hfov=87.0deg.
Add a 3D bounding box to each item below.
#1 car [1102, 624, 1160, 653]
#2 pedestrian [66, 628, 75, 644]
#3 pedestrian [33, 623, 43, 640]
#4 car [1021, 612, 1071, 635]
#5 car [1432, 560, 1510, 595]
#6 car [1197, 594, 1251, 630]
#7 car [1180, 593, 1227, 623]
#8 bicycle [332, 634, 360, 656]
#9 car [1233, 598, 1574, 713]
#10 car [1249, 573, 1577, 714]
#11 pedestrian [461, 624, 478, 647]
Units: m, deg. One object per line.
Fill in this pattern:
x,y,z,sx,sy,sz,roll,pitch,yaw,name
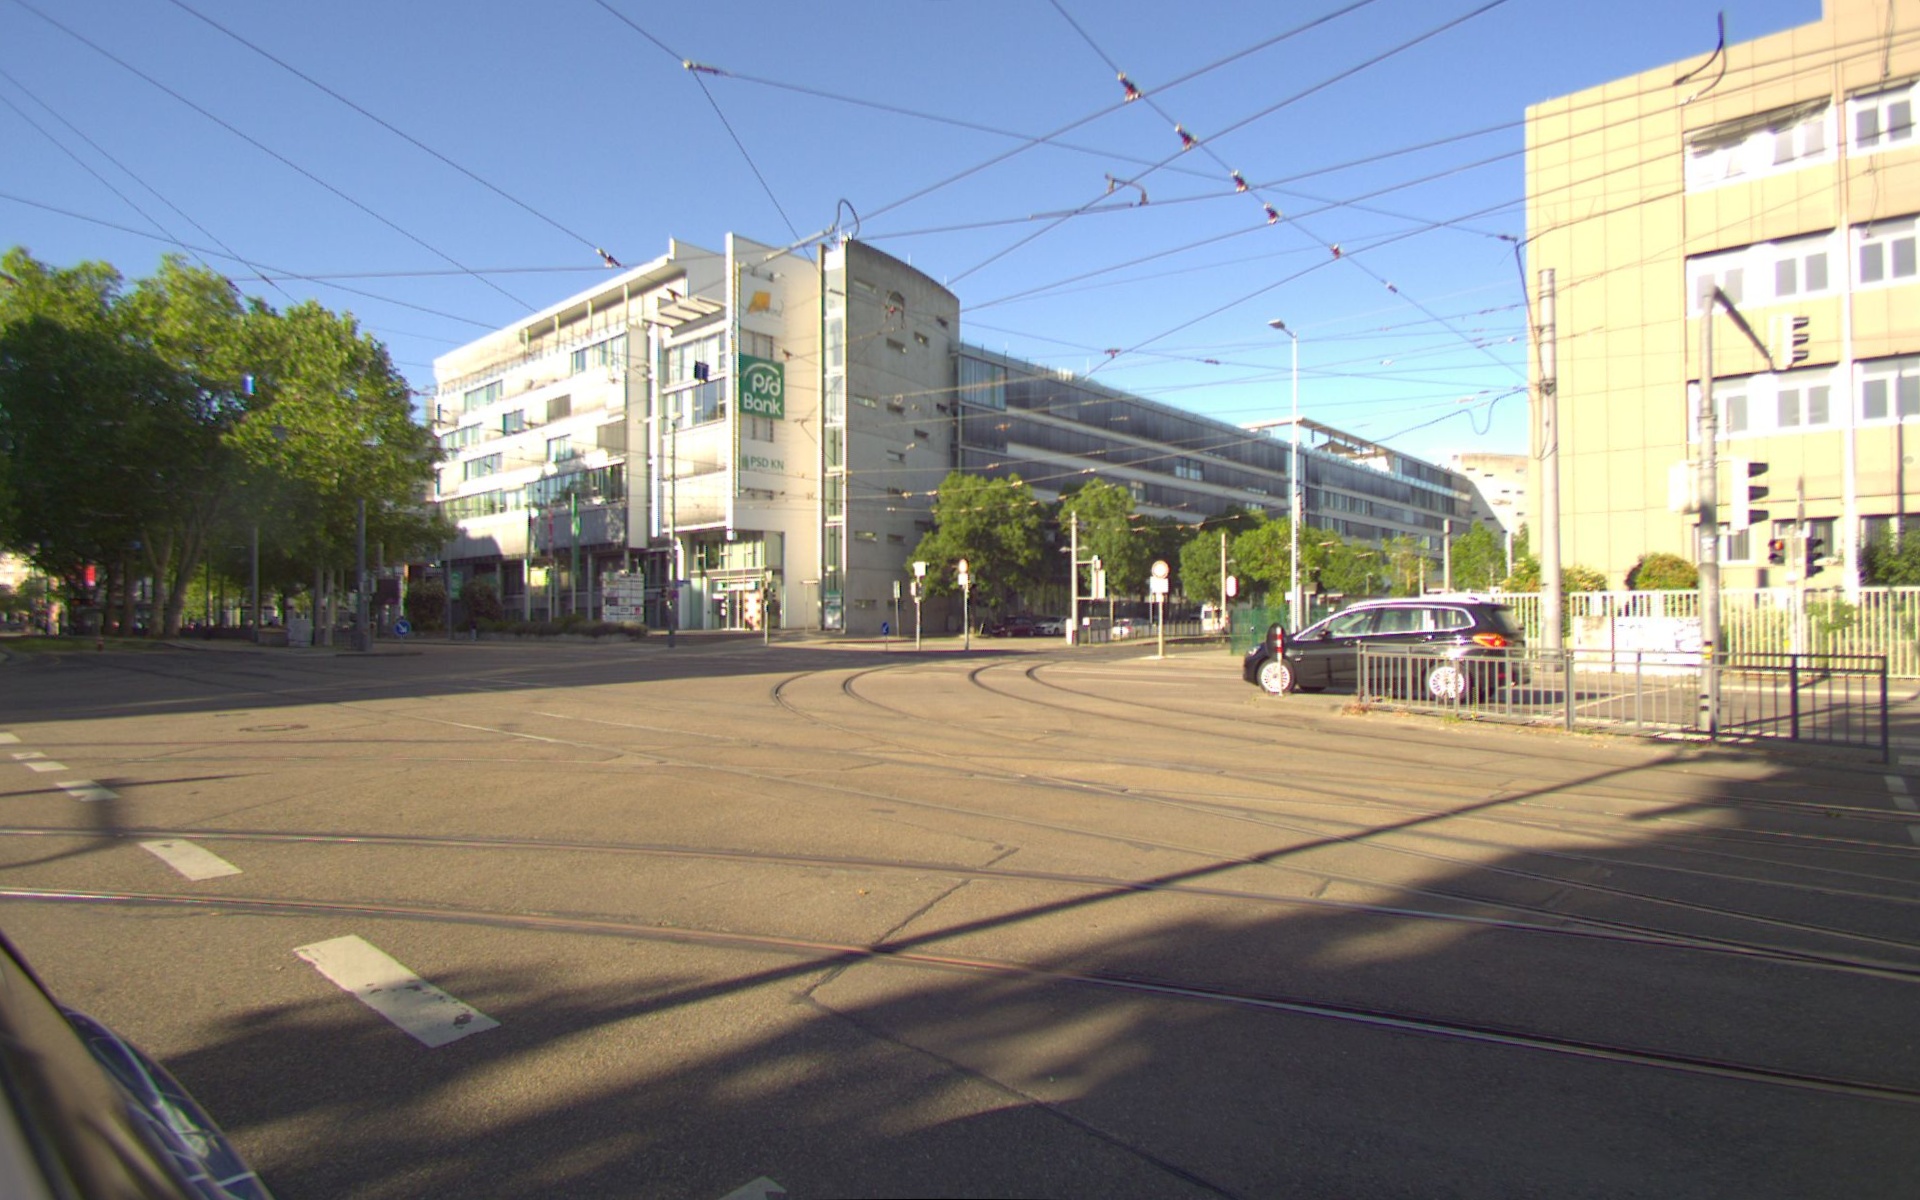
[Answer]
10.640,2.361,62.828,2.104,1.710,3.923,-1,-1,35,car
-87.379,3.542,99.427,0.549,1.508,0.548,-2,-1,31,pedestrian
-99.464,3.416,109.215,0.675,1.767,0.649,-2,-1,34,pedestrian
6.356,1.714,74.387,1.734,1.666,3.899,-1,-1,41,car
32.390,-1.380,64.166,3.999,2.029,1.972,-2,-1,42,car
18.964,0.836,72.575,2.180,2.524,4.343,-1,-1,39,car
22.414,0.753,93.149,2.230,2.674,5.062,-1,-1,39,car
-28.185,2.058,46.479,0.803,0.953,1.728,0,-1,-42,bicycle
7.152,0.846,16.644,4.753,1.629,1.973,-2,-2,41,car
7.214,0.657,16.474,1.969,1.962,4.430,0,-1,-41,car
-34.567,2.503,71.288,0.767,1.604,0.896,-2,-2,42,pedestrian
